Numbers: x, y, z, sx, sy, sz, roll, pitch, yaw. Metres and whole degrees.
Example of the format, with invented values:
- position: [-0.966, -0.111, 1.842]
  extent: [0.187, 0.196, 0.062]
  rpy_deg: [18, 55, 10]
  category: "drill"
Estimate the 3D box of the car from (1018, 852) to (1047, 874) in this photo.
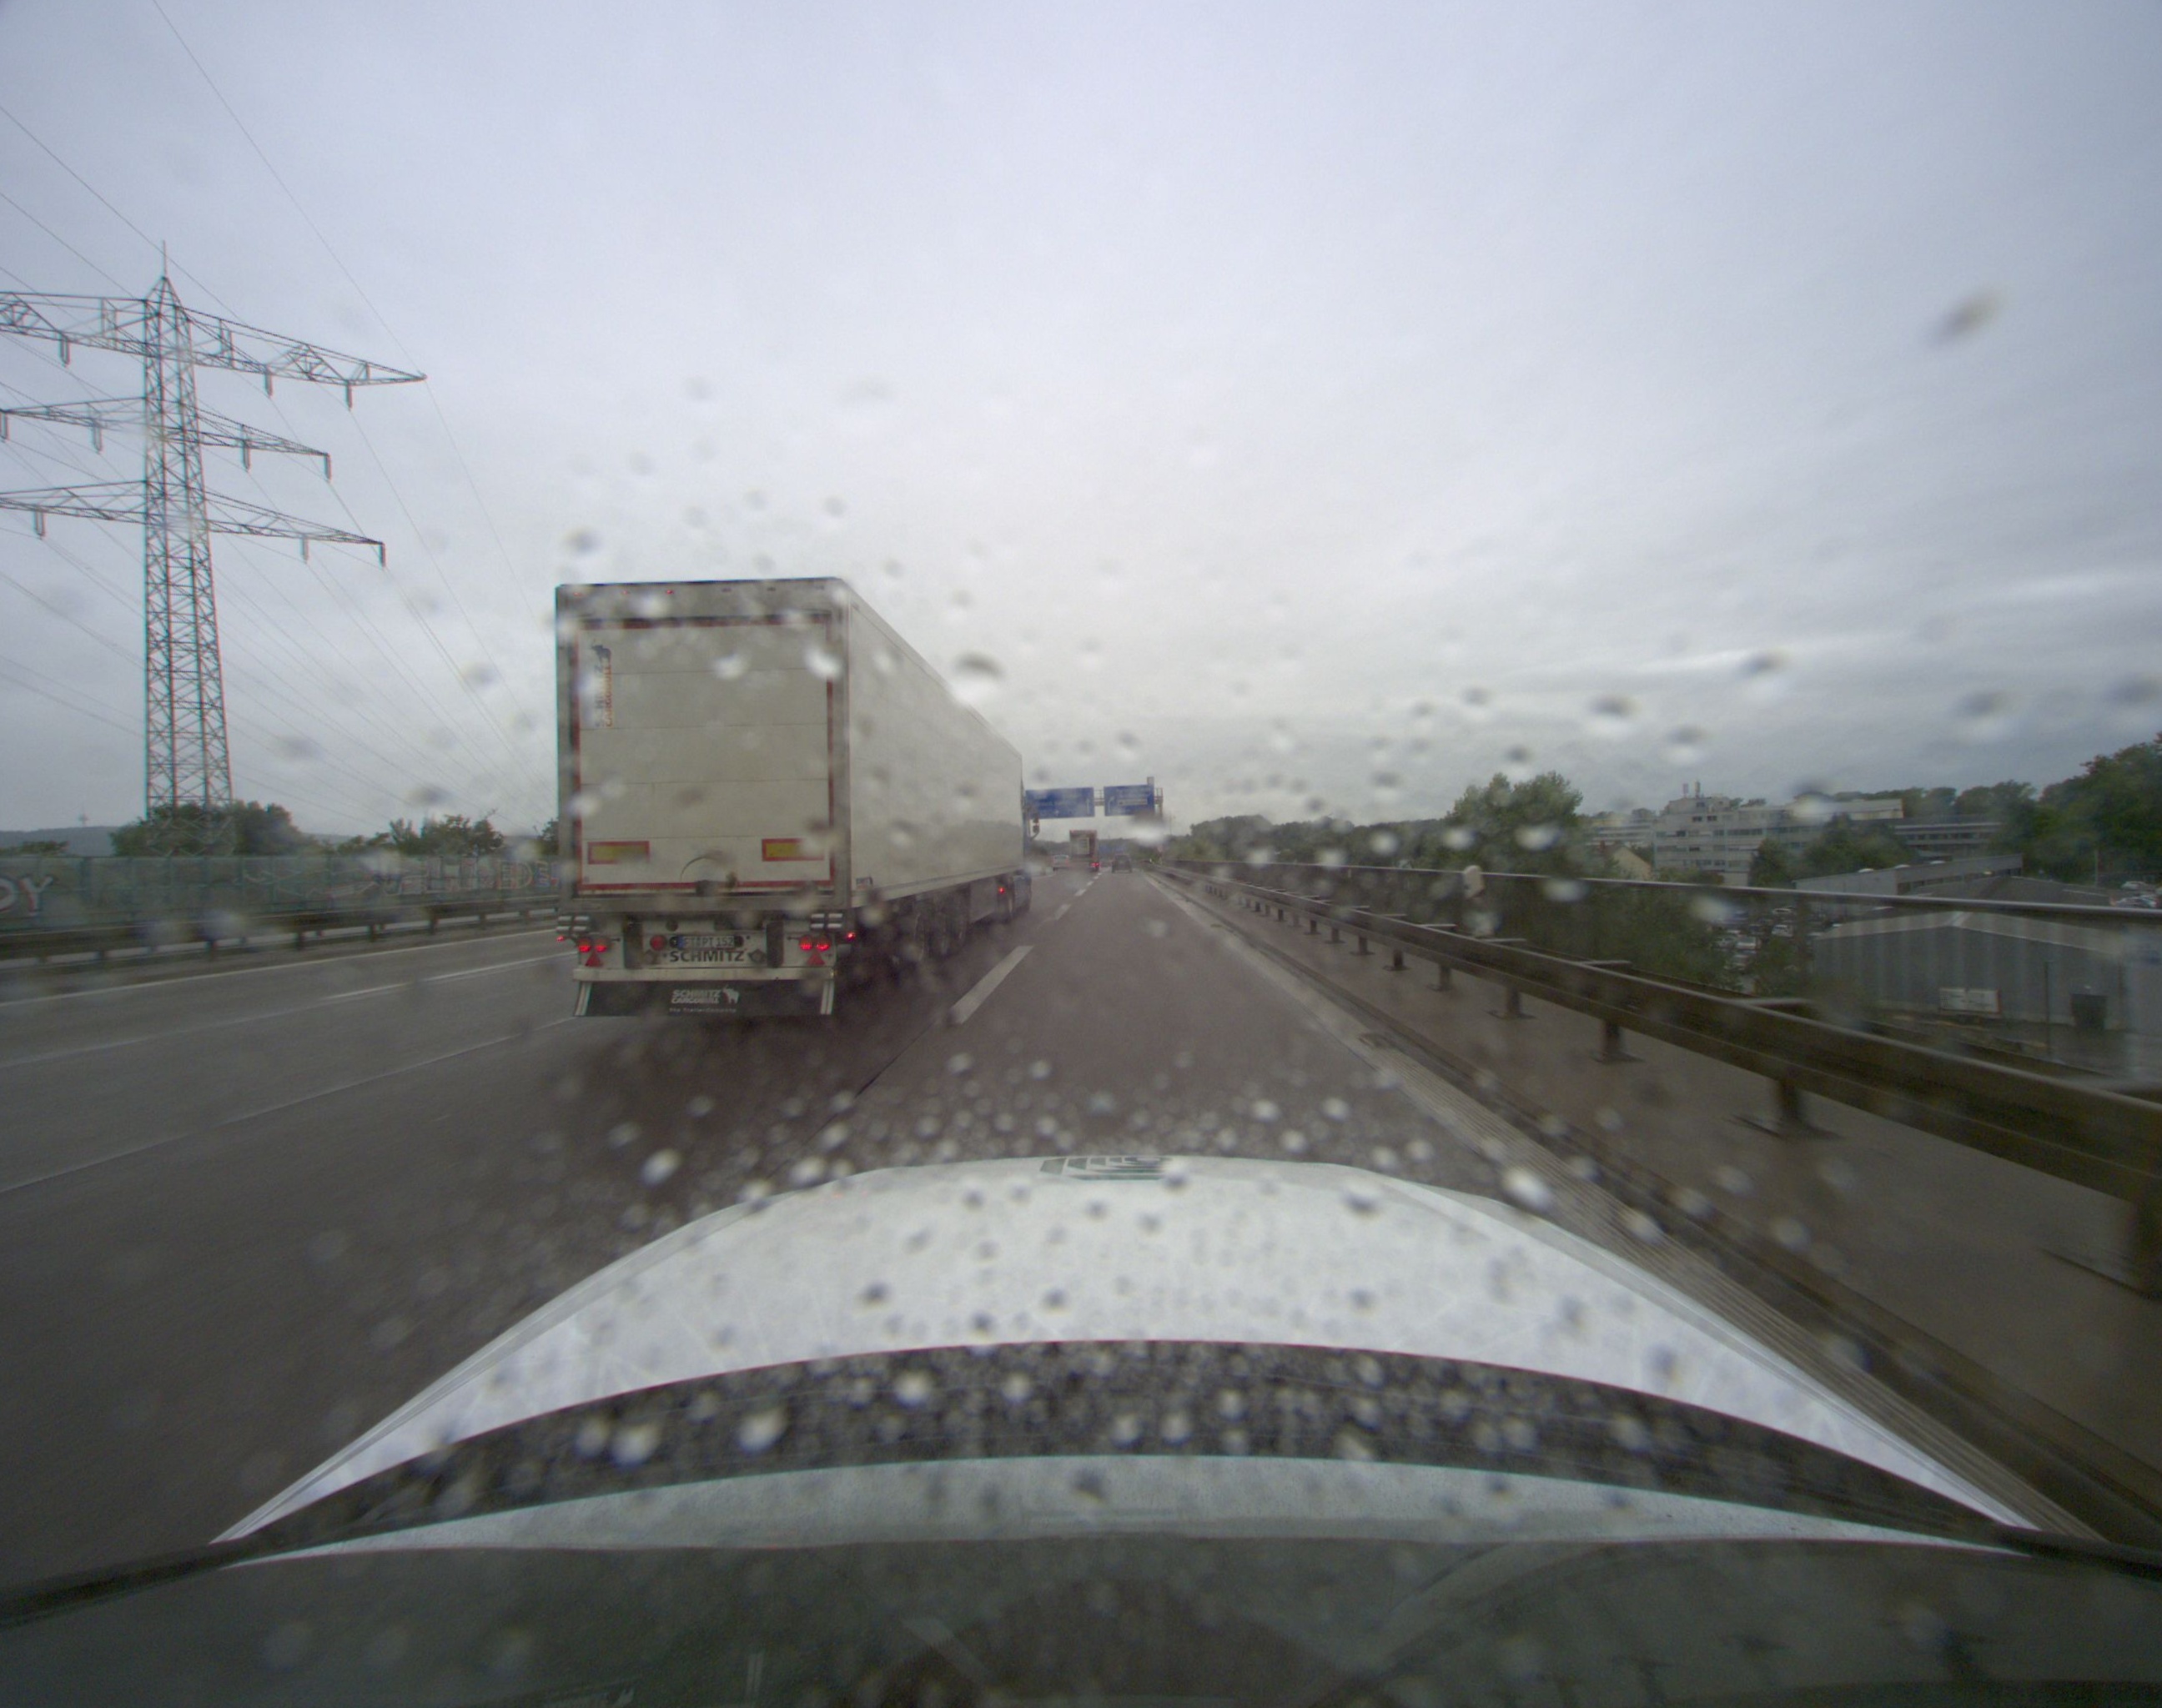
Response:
- position: [-3.918, 0.760, 66.430]
  extent: [1.886, 1.724, 4.002]
  rpy_deg: [0, -1, 2]
  category: "car"

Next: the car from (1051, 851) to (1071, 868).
- position: [-2.425, 0.675, 99.600]
  extent: [2.041, 1.949, 4.002]
  rpy_deg: [0, -1, 2]
  category: "car"

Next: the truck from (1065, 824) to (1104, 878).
- position: [0.452, -0.207, 82.915]
  extent: [3.520, 5.183, 9.898]
  rpy_deg: [0, -1, 3]
  category: "truck"

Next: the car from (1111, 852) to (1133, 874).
- position: [3.757, 0.806, 73.536]
  extent: [1.889, 1.949, 4.004]
  rpy_deg: [0, -1, 4]
  category: "car"

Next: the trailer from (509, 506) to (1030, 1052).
- position: [-2.891, -0.605, 13.721]
  extent: [2.333, 4.157, 14.836]
  rpy_deg: [-2, 0, 3]
  category: "trailer"

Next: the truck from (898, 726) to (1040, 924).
- position: [-2.562, -0.631, 20.605]
  extent: [2.333, 4.157, 6.350]
  rpy_deg: [-2, 0, 2]
  category: "truck"
